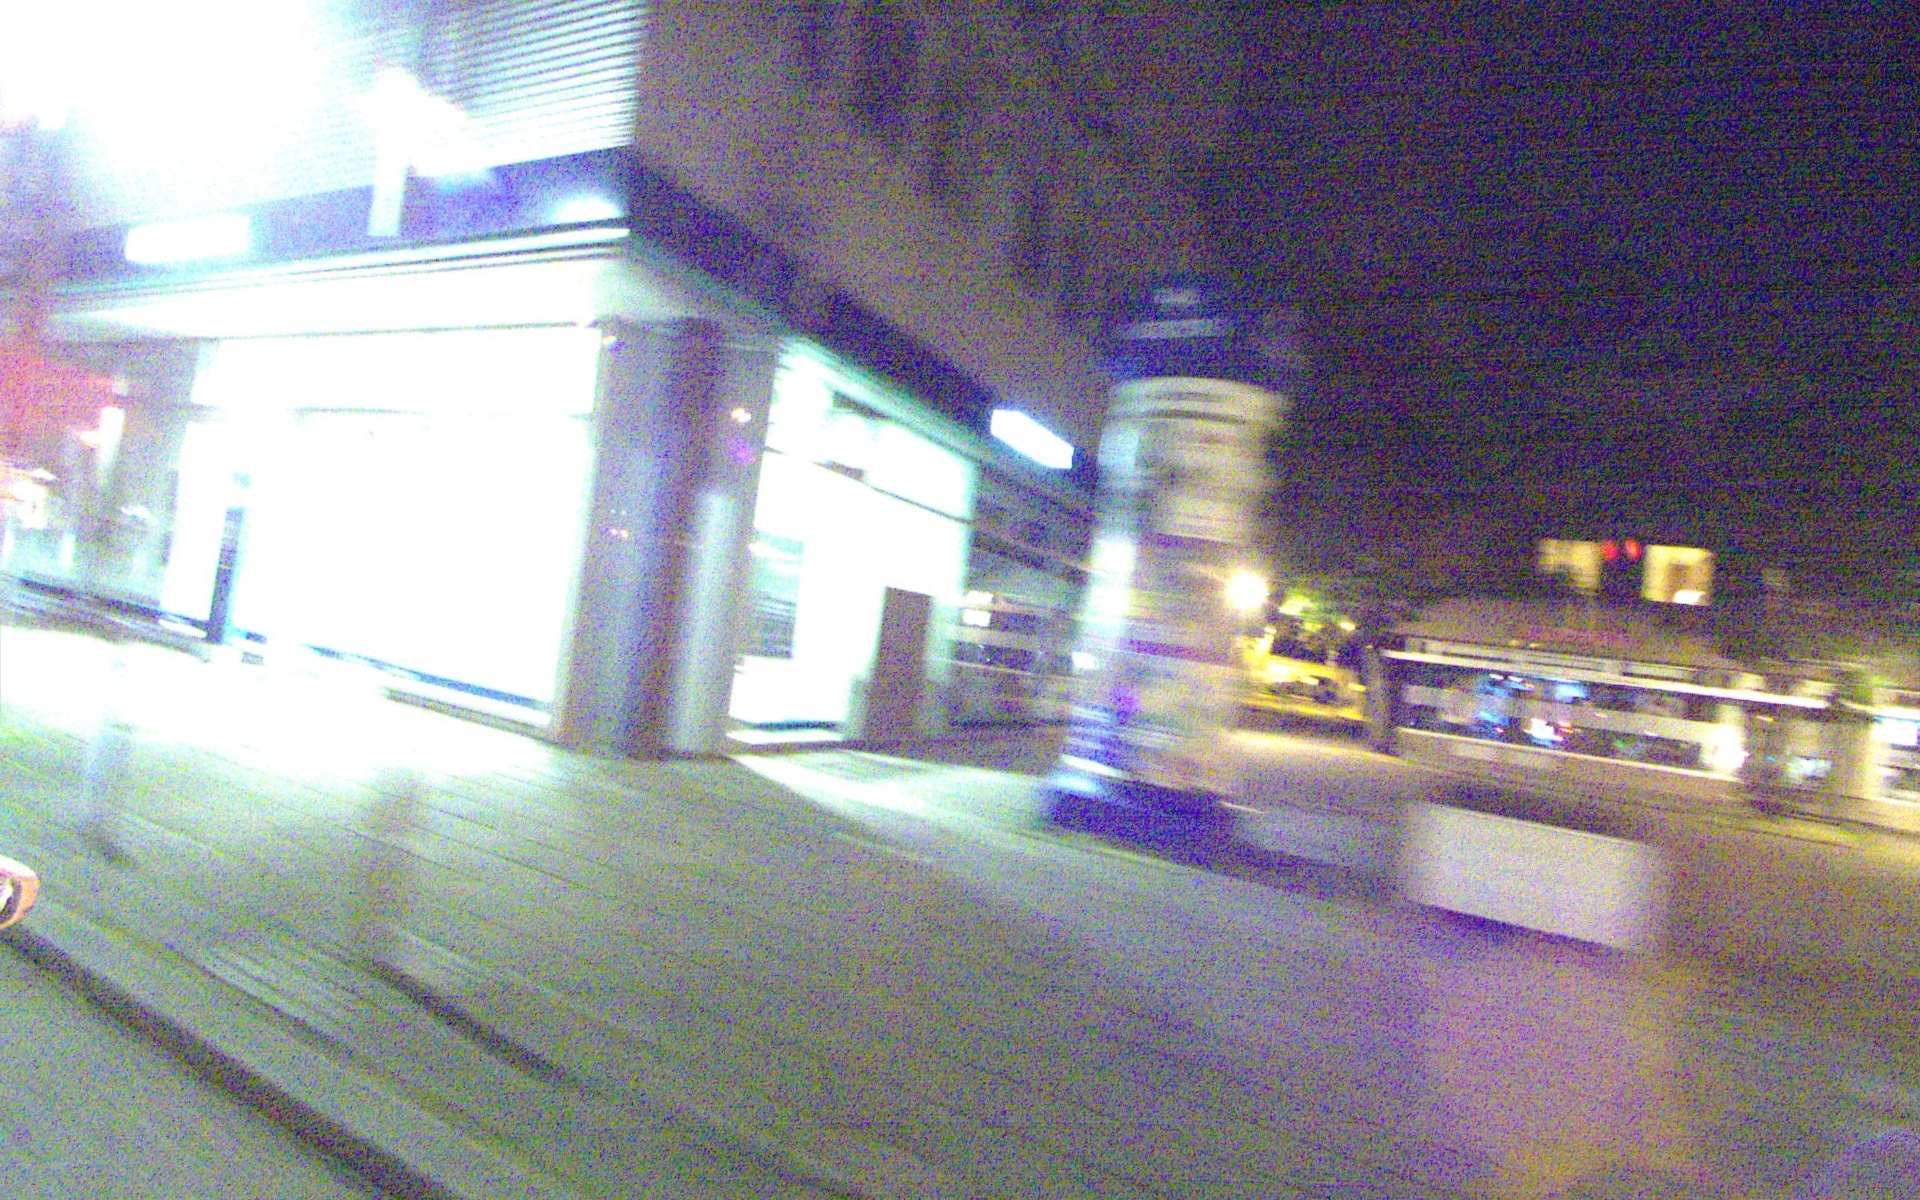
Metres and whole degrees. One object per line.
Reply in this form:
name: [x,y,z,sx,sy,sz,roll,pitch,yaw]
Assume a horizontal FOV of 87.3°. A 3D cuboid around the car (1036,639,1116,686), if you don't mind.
car: [4.623,2.473,39.702,1.889,1.468,3.999,8,0,24]
